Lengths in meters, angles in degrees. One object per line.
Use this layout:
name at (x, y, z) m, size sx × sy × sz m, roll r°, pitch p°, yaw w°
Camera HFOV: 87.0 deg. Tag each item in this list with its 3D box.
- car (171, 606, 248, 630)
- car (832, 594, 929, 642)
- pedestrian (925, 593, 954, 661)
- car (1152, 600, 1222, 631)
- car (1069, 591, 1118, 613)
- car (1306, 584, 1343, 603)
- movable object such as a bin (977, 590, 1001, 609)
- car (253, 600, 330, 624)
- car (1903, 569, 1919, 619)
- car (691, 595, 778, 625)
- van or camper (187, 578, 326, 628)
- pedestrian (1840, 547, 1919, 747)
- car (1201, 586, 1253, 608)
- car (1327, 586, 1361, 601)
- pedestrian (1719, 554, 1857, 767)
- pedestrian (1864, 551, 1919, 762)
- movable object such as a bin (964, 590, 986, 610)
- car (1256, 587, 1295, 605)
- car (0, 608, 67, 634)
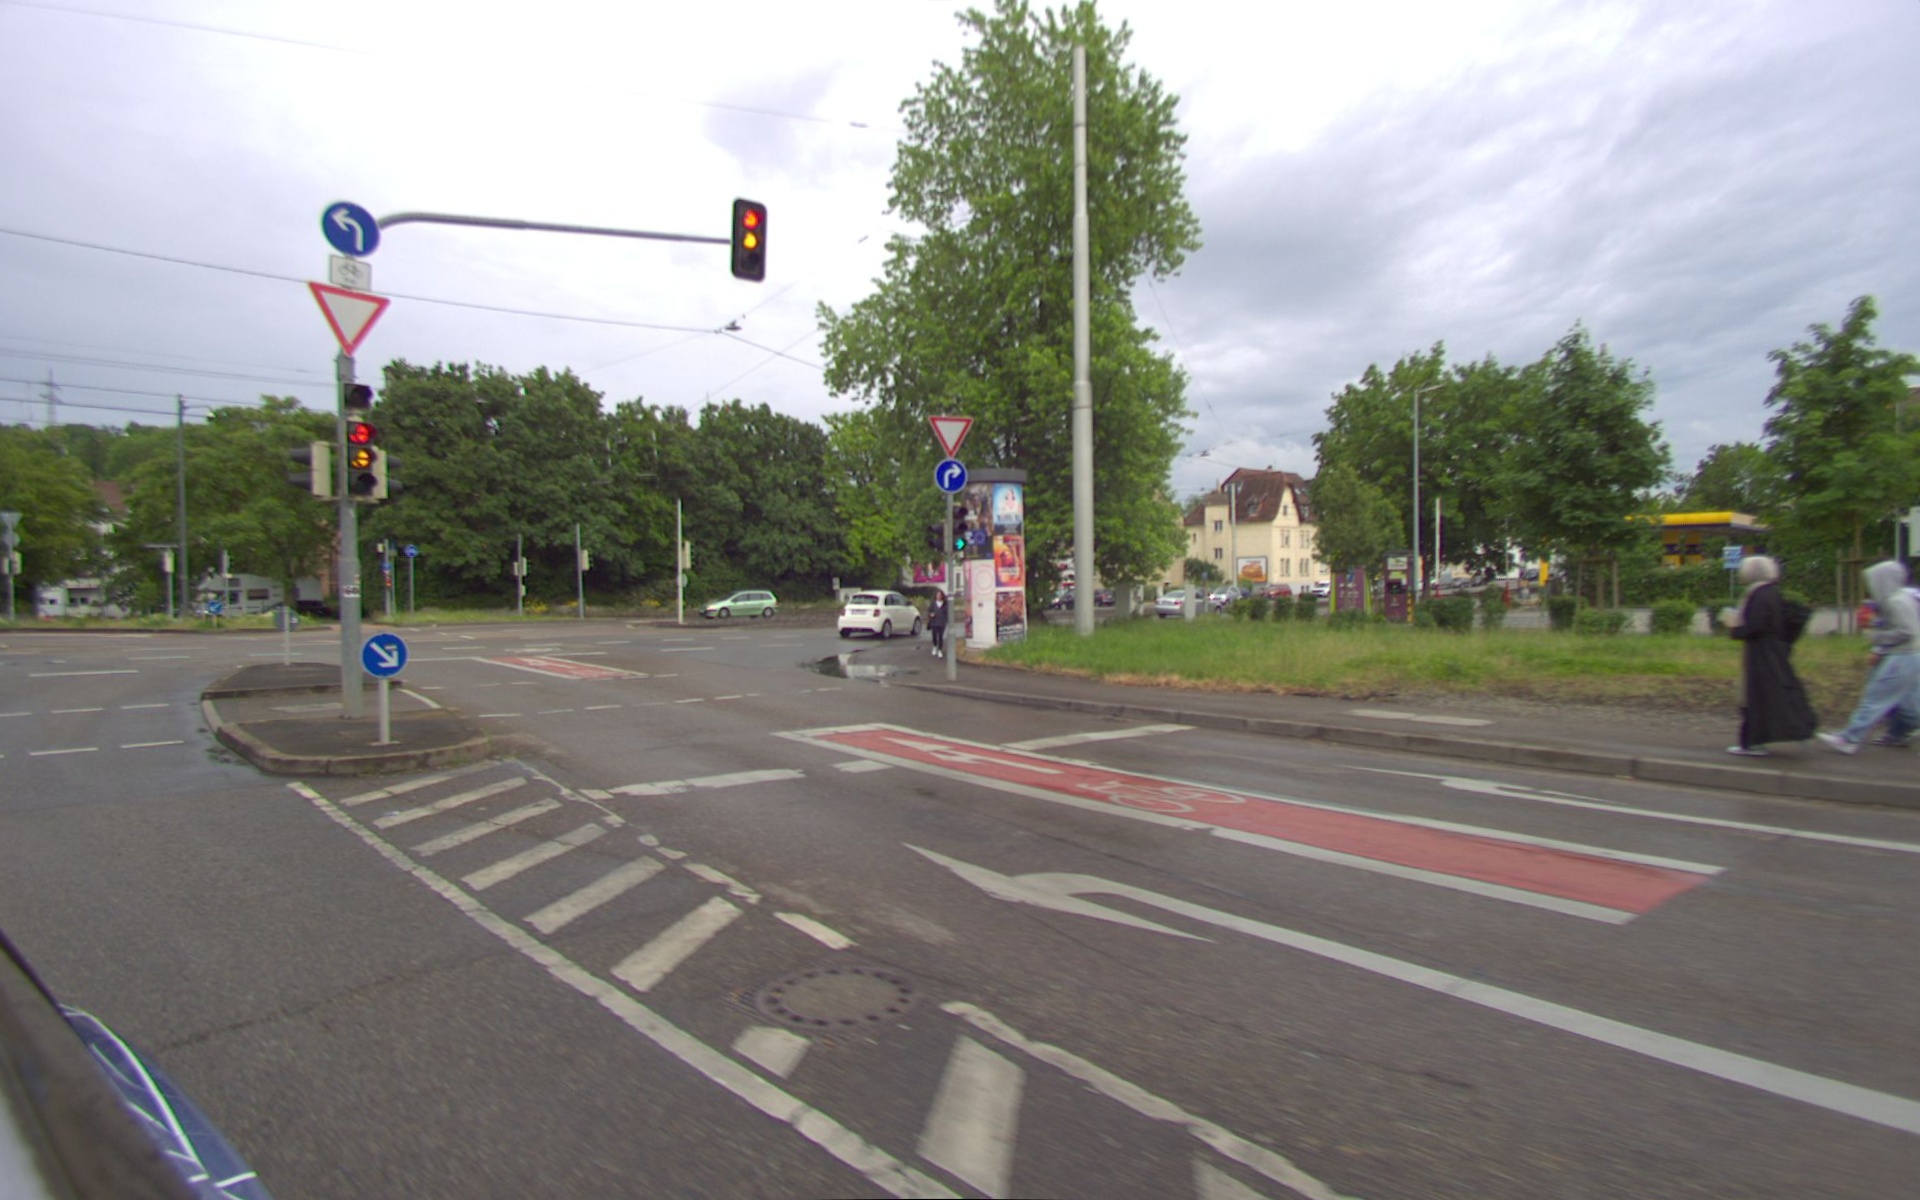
car at (-50.541, 1.184, 68.176) m, size 1.837 × 1.560 × 3.942 m, roll -1°, pitch 0°, yaw 44°
car at (-2.589, 0.541, 33.786) m, size 1.680 × 1.494 × 3.972 m, roll 1°, pitch 1°, yaw 21°
pedestrian at (-0.487, 0.624, 23.617) m, size 0.584 × 1.543 × 0.669 m, roll -3°, pitch 0°, yaw -2°
car at (11.529, 0.735, 51.259) m, size 1.591 × 1.448 × 4.366 m, roll 0°, pitch 1°, yaw 42°
car at (12.187, 0.203, 92.500) m, size 1.850 × 1.668 × 4.295 m, roll -4°, pitch -1°, yaw -39°
car at (38.669, -0.684, 107.329) m, size 4.455 × 1.770 × 1.854 m, roll -3°, pitch 0°, yaw -44°
movable object such as a bin at (2.268, -0.022, 79.130) m, size 1.316 × 1.428 × 1.281 m, roll -2°, pitch 1°, yaw 45°
car at (-38.462, 0.676, 58.272) m, size 1.677 × 1.364 × 3.425 m, roll -1°, pitch 0°, yaw 41°
car at (28.146, -0.204, 26.889) m, size 4.375 × 1.355 × 1.752 m, roll -1°, pitch 1°, yaw 40°
car at (-12.077, 0.520, 54.296) m, size 4.137 × 1.460 × 1.891 m, roll -1°, pitch 0°, yaw -43°
van or camper at (-41.232, 0.164, 59.475) m, size 2.431 × 2.775 × 6.340 m, roll -1°, pitch 0°, yaw 43°
pedestrian at (7.903, 0.370, 8.446) m, size 0.647 × 1.614 × 0.679 m, roll -3°, pitch 1°, yaw -37°
car at (20.476, -0.261, 77.587) m, size 4.138 × 1.435 × 1.891 m, roll -4°, pitch 1°, yaw -43°
car at (42.132, -0.733, 111.015) m, size 4.073 × 1.523 × 1.694 m, roll -3°, pitch 0°, yaw -41°
pedestrian at (6.701, 0.462, 8.196) m, size 0.647 × 1.614 × 0.679 m, roll -3°, pitch 1°, yaw -37°
pedestrian at (7.586, 0.421, 7.869) m, size 0.597 × 1.614 × 0.679 m, roll -3°, pitch 1°, yaw -37°
movable object such as a bin at (1.139, -0.011, 78.005) m, size 1.189 × 1.428 × 1.118 m, roll -2°, pitch 1°, yaw 45°
car at (31.441, -0.385, 100.768) m, size 4.038 × 1.640 × 1.845 m, roll -3°, pitch 0°, yaw -43°
car at (-50.813, 1.119, 54.439) m, size 1.677 × 1.364 × 3.946 m, roll -1°, pitch 0°, yaw 41°
